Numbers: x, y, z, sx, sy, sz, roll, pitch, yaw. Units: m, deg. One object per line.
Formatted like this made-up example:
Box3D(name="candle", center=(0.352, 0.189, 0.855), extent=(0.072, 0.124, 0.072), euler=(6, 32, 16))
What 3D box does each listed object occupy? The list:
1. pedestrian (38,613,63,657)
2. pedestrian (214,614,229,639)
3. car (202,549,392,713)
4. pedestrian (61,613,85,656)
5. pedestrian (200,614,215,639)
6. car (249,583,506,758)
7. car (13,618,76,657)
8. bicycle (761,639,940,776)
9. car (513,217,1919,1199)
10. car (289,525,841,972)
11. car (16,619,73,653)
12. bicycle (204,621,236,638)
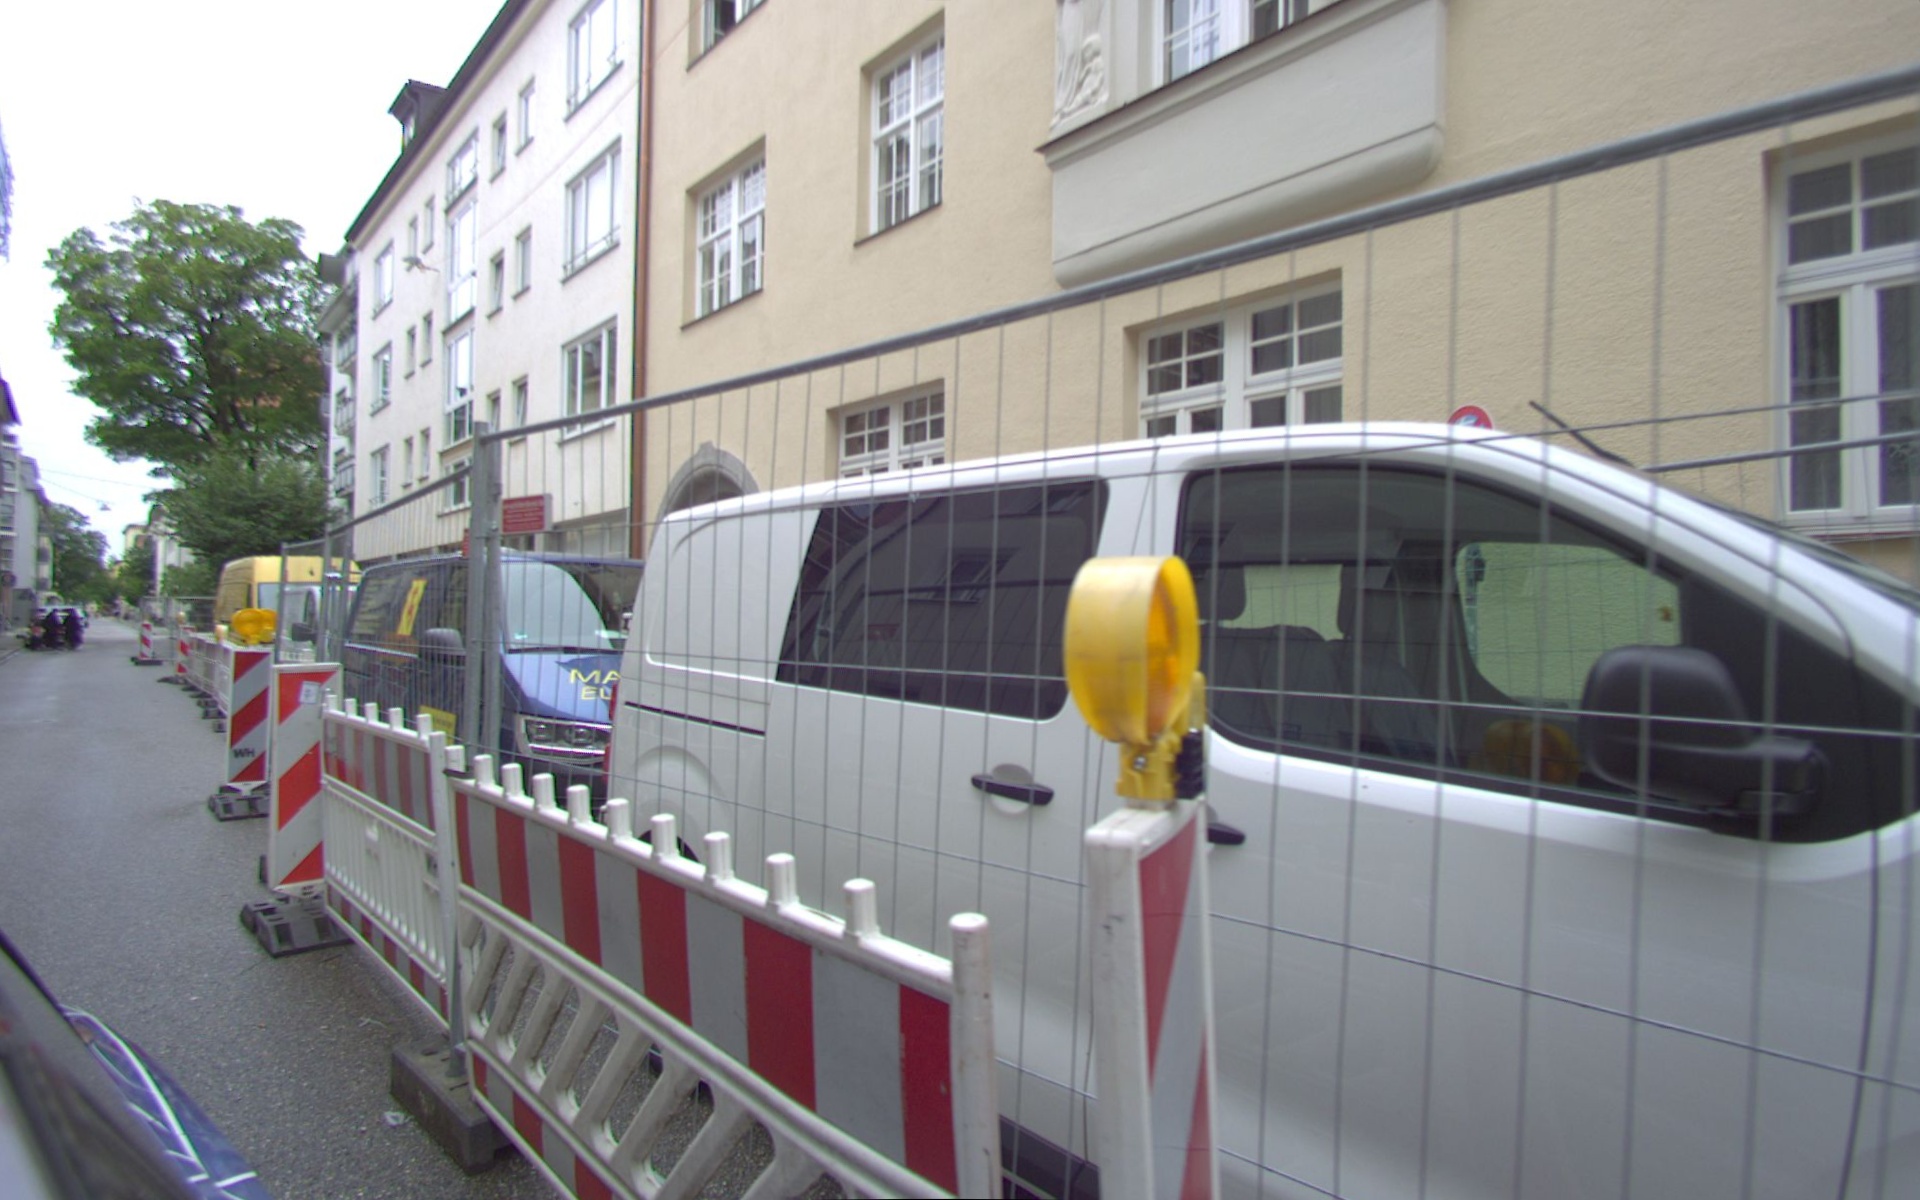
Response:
Box3D(name="pedestrian", center=(-35.346, 1.358, 39.332), extent=(0.650, 1.699, 0.588), euler=(0, -1, -36))
Box3D(name="pedestrian", center=(-52.099, 1.847, 71.389), extent=(0.685, 1.741, 0.842), euler=(-3, 1, -41))
Box3D(name="car", center=(-12.756, 0.578, 19.223), extent=(1.969, 2.598, 6.745), euler=(3, -3, -42))
Box3D(name="pedestrian", center=(-35.974, 1.403, 41.052), extent=(0.650, 1.699, 0.547), euler=(-1, -1, -36))
Box3D(name="pedestrian", center=(-52.715, 1.852, 70.862), extent=(0.711, 1.741, 0.842), euler=(-3, 1, -41))
Box3D(name="car", center=(-7.922, 0.850, 13.522), extent=(1.894, 1.912, 4.796), euler=(5, -4, -42))
Box3D(name="car", center=(-38.613, 1.528, 42.766), extent=(1.749, 1.535, 4.074), euler=(0, -1, -39))
Box3D(name="bicycle", center=(-1.115, 0.985, 9.802), extent=(2.135, 1.197, 0.377), euler=(-2, -2, 42))
Box3D(name="car", center=(0.700, 0.566, 2.833), extent=(1.882, 1.912, 5.092), euler=(2, -2, -44))
Box3D(name="car", center=(-3.131, 0.713, 7.002), extent=(1.706, 1.912, 5.516), euler=(4, -4, -41))
Box3D(name="car", center=(-42.145, 1.636, 46.649), extent=(1.746, 1.472, 4.387), euler=(0, -1, -40))
Box3D(name="bicycle", center=(-53.929, 2.152, 73.748), extent=(1.785, 1.270, 0.432), euler=(2, -2, -42))
